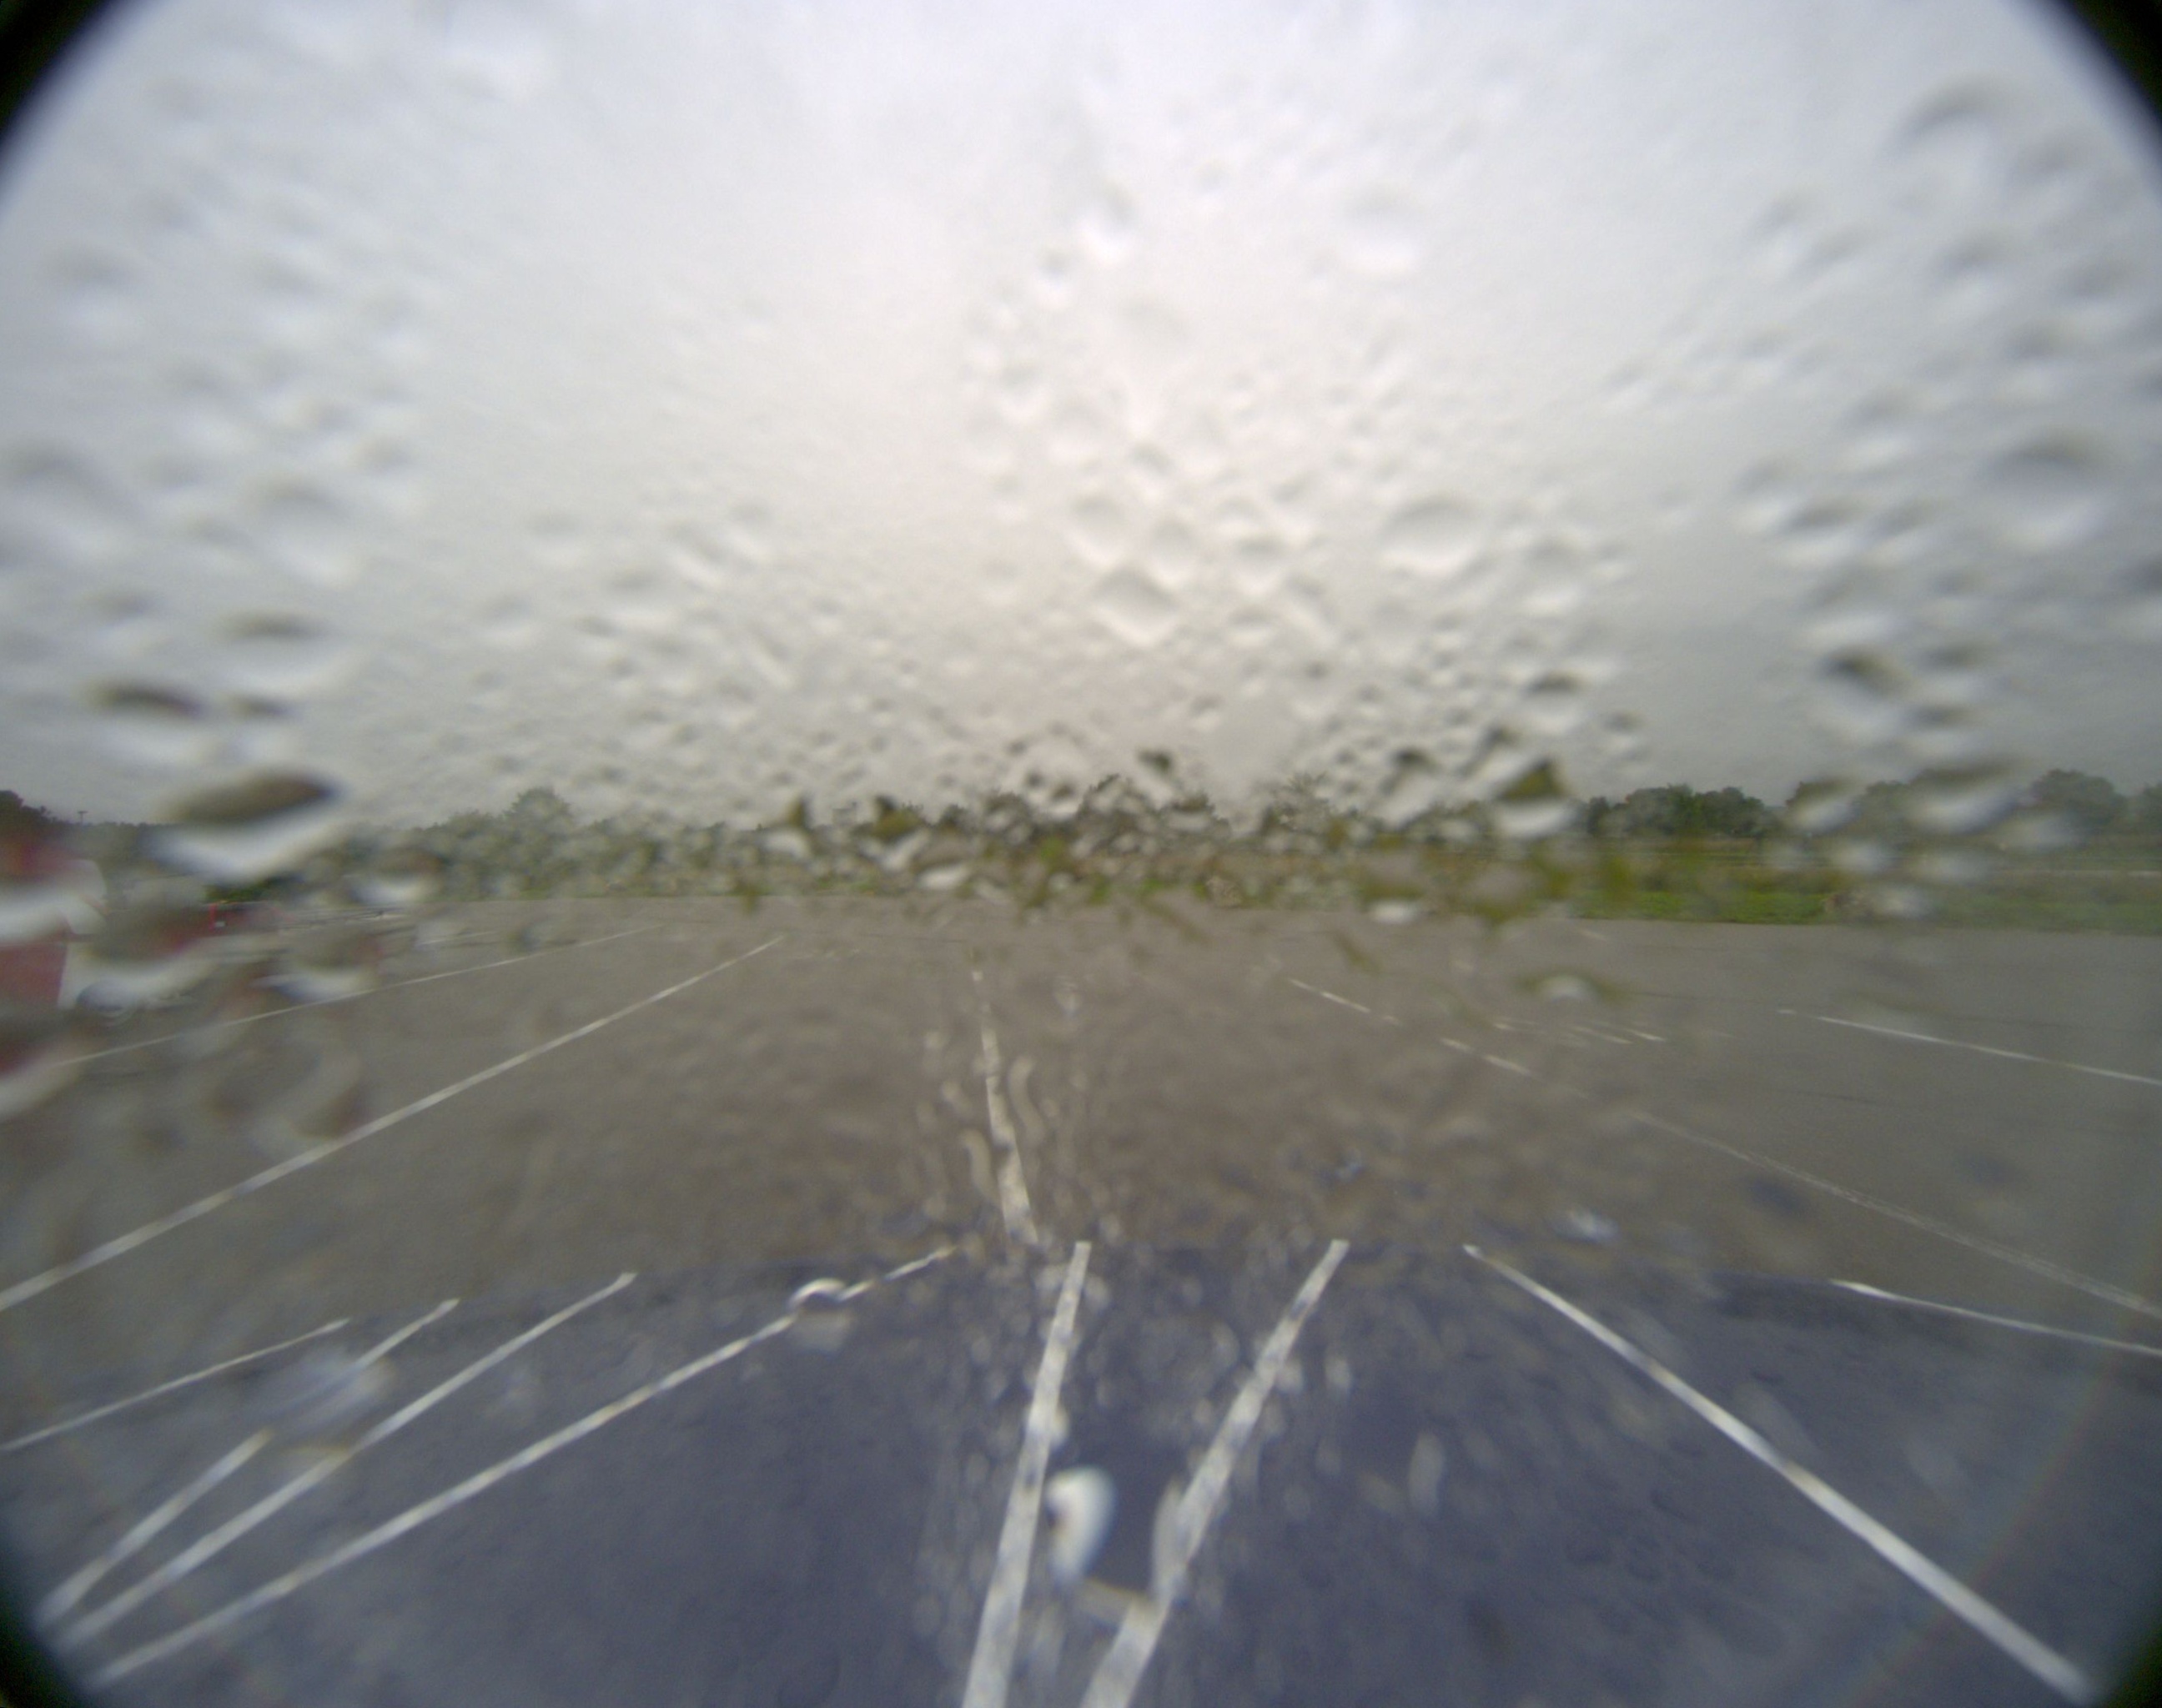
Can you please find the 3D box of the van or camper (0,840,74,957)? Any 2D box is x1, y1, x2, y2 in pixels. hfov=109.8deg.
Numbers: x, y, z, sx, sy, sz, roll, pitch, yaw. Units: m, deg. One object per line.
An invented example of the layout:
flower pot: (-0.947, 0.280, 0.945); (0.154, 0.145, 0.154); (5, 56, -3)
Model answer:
van or camper: (-21.459, 0.895, 12.375); (2.135, 2.233, 6.412); (-1, 1, -8)

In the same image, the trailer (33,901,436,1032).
trailer: (-9.826, 1.225, 9.199); (1.588, 1.061, 3.028); (-2, 0, -5)

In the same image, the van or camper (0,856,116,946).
van or camper: (-33.956, 1.466, 22.695); (2.000, 2.700, 7.062); (0, 1, -8)

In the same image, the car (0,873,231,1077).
car: (-9.311, 1.007, 5.671); (1.549, 1.547, 4.054); (-1, 1, -5)
